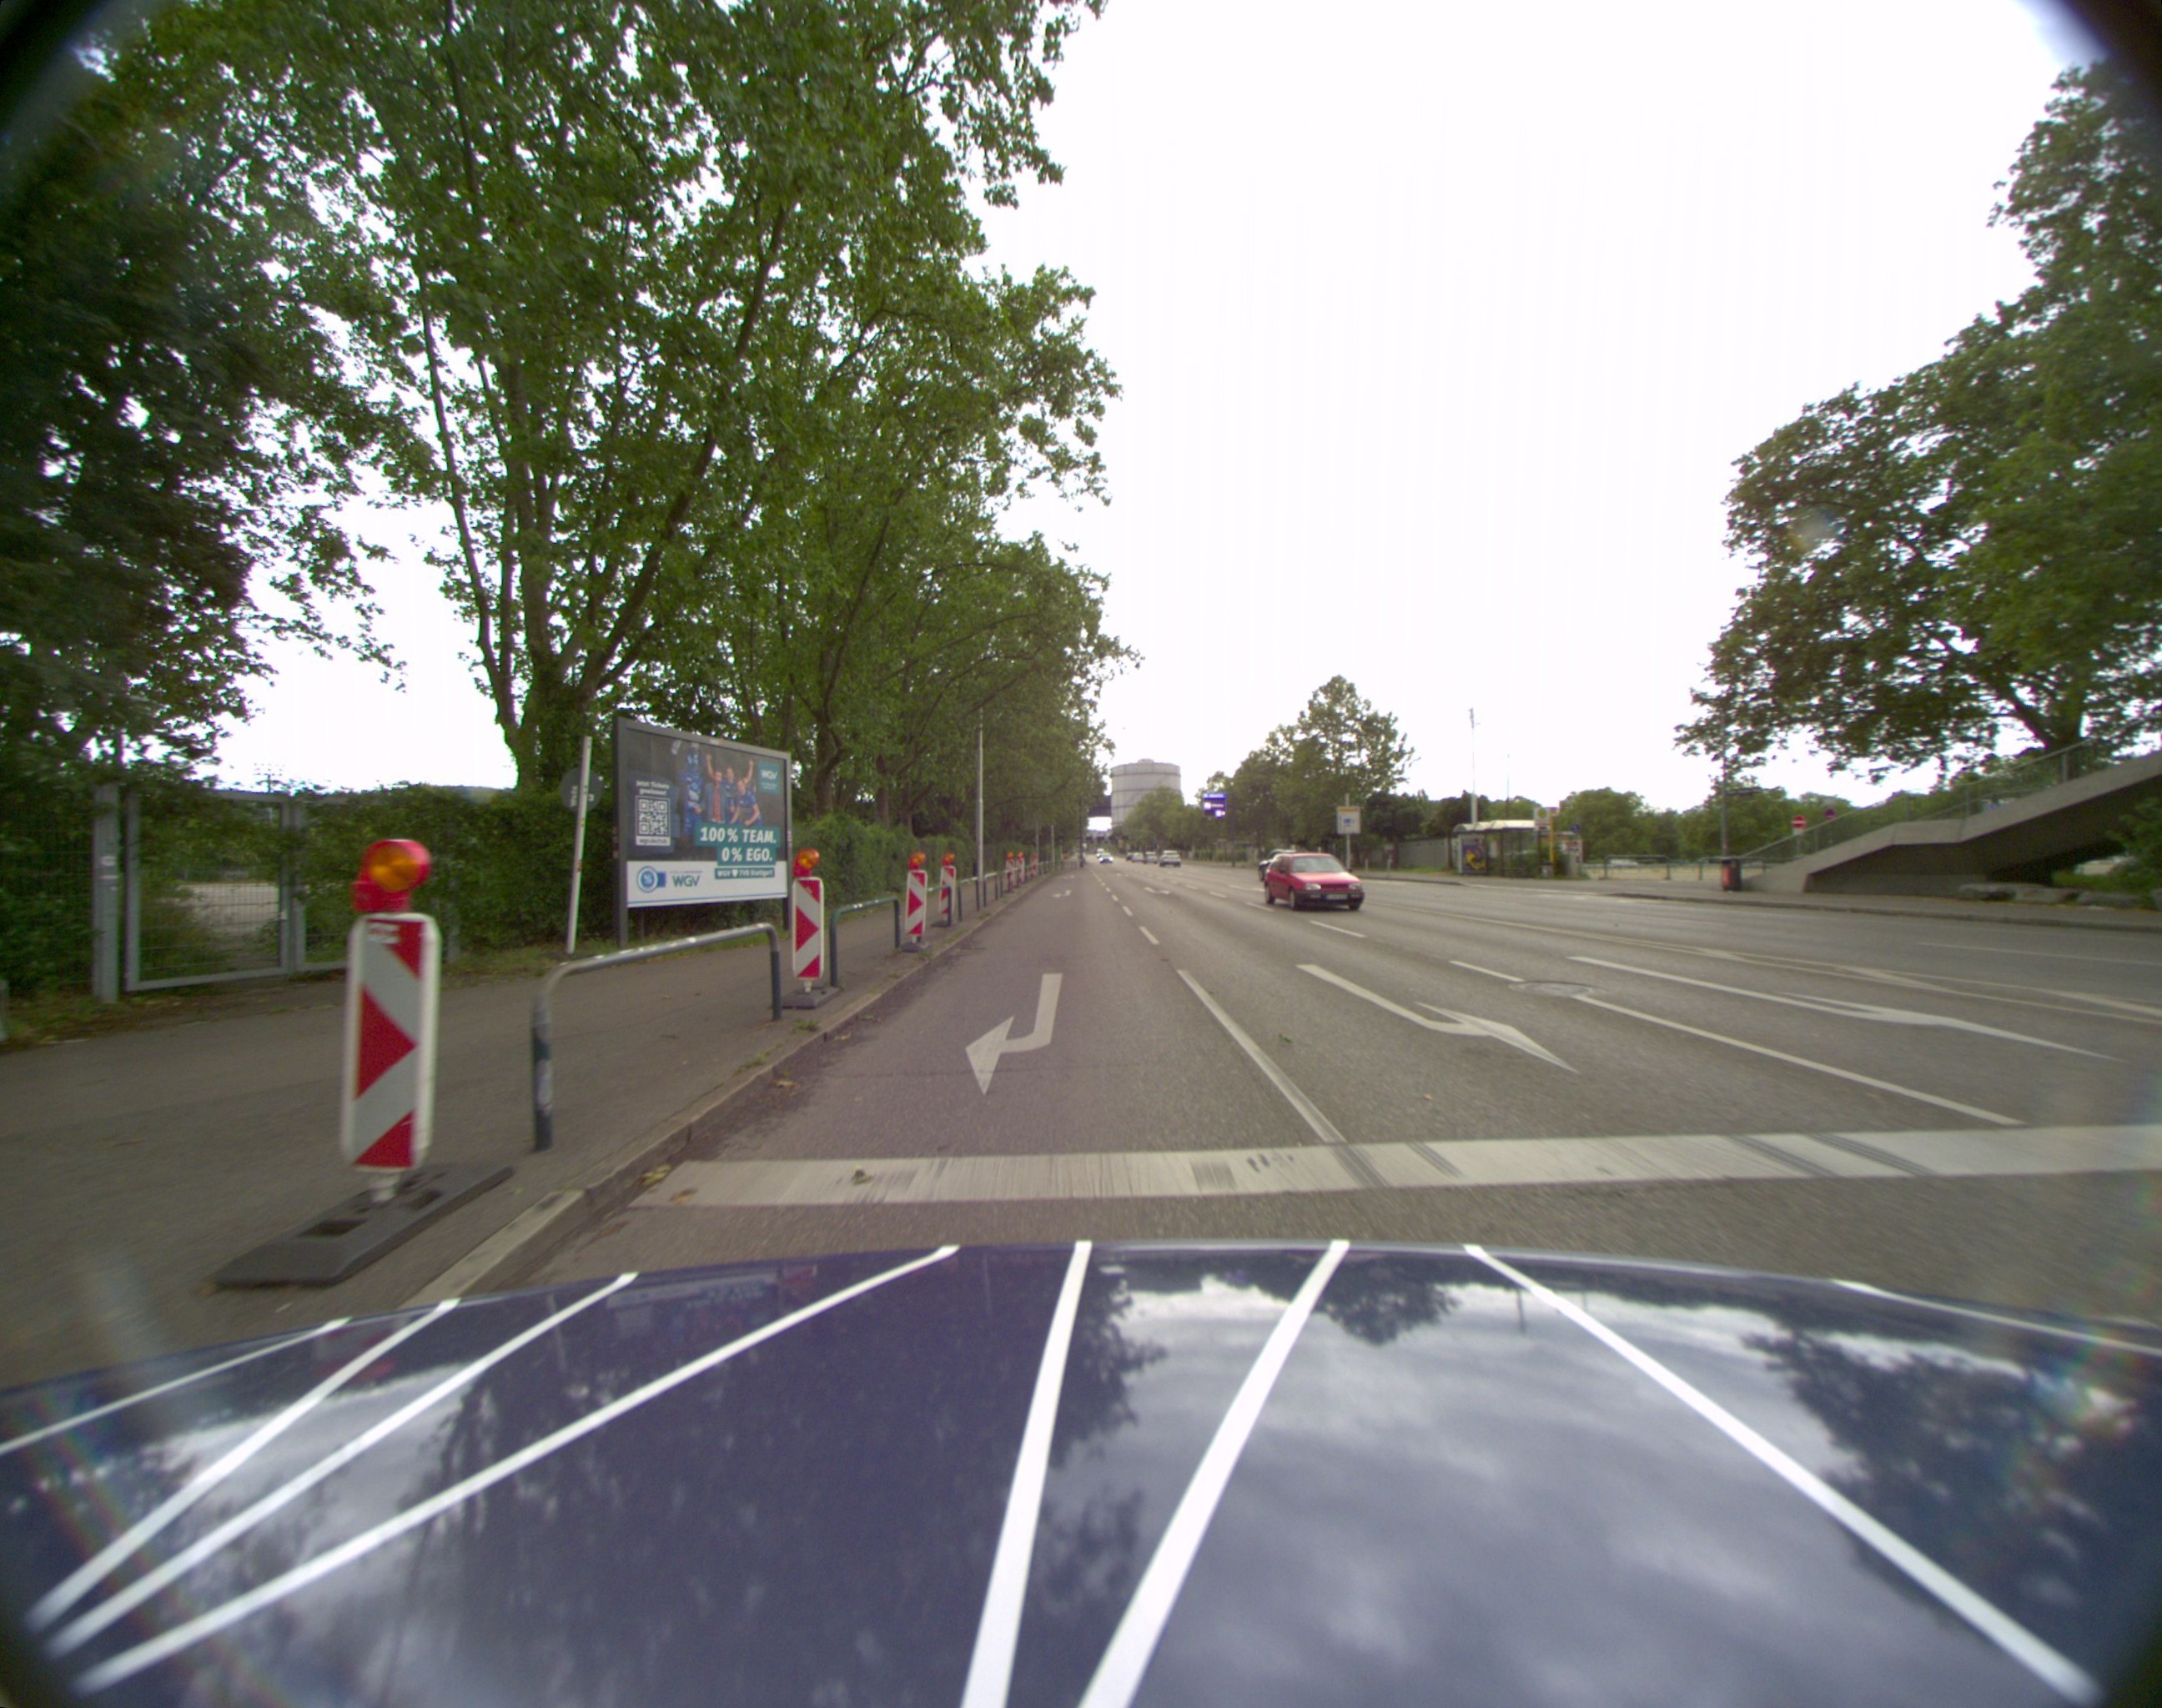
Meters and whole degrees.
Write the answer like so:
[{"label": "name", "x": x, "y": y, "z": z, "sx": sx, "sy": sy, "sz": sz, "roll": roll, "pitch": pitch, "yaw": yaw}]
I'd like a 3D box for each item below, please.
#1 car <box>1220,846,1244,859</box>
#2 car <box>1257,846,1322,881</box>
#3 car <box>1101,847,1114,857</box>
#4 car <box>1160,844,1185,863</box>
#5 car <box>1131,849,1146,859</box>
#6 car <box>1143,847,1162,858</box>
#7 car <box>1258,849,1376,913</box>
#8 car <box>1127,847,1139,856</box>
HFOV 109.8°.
[{"label": "car", "x": 22.689, "y": -0.244, "z": 114.194, "sx": 2.393, "sy": 2.002, "sz": 4.634, "roll": 0, "pitch": 0, "yaw": -4}, {"label": "car", "x": 10.055, "y": 0.440, "z": 36.941, "sx": 1.774, "sy": 1.597, "sz": 4.427, "roll": 0, "pitch": 0, "yaw": -2}, {"label": "car", "x": 3.864, "y": -0.324, "z": 111.986, "sx": 1.799, "sy": 1.501, "sz": 4.000, "roll": -1, "pitch": 0, "yaw": 0}, {"label": "car", "x": 9.637, "y": -0.031, "z": 80.110, "sx": 1.999, "sy": 1.734, "sz": 4.596, "roll": -2, "pitch": -2, "yaw": -1}, {"label": "car", "x": 9.082, "y": -0.072, "z": 119.375, "sx": 1.999, "sy": 1.521, "sz": 4.384, "roll": -1, "pitch": 0, "yaw": 0}, {"label": "car", "x": 9.640, "y": -0.198, "z": 102.480, "sx": 1.999, "sy": 1.516, "sz": 3.999, "roll": 0, "pitch": 1, "yaw": -2}, {"label": "car", "x": 6.028, "y": 0.621, "z": 19.919, "sx": 1.833, "sy": 1.443, "sz": 4.076, "roll": -2, "pitch": 0, "yaw": 0}, {"label": "car", "x": 9.840, "y": -0.477, "z": 144.365, "sx": 1.999, "sy": 1.521, "sz": 4.725, "roll": 0, "pitch": 0, "yaw": -1}]
